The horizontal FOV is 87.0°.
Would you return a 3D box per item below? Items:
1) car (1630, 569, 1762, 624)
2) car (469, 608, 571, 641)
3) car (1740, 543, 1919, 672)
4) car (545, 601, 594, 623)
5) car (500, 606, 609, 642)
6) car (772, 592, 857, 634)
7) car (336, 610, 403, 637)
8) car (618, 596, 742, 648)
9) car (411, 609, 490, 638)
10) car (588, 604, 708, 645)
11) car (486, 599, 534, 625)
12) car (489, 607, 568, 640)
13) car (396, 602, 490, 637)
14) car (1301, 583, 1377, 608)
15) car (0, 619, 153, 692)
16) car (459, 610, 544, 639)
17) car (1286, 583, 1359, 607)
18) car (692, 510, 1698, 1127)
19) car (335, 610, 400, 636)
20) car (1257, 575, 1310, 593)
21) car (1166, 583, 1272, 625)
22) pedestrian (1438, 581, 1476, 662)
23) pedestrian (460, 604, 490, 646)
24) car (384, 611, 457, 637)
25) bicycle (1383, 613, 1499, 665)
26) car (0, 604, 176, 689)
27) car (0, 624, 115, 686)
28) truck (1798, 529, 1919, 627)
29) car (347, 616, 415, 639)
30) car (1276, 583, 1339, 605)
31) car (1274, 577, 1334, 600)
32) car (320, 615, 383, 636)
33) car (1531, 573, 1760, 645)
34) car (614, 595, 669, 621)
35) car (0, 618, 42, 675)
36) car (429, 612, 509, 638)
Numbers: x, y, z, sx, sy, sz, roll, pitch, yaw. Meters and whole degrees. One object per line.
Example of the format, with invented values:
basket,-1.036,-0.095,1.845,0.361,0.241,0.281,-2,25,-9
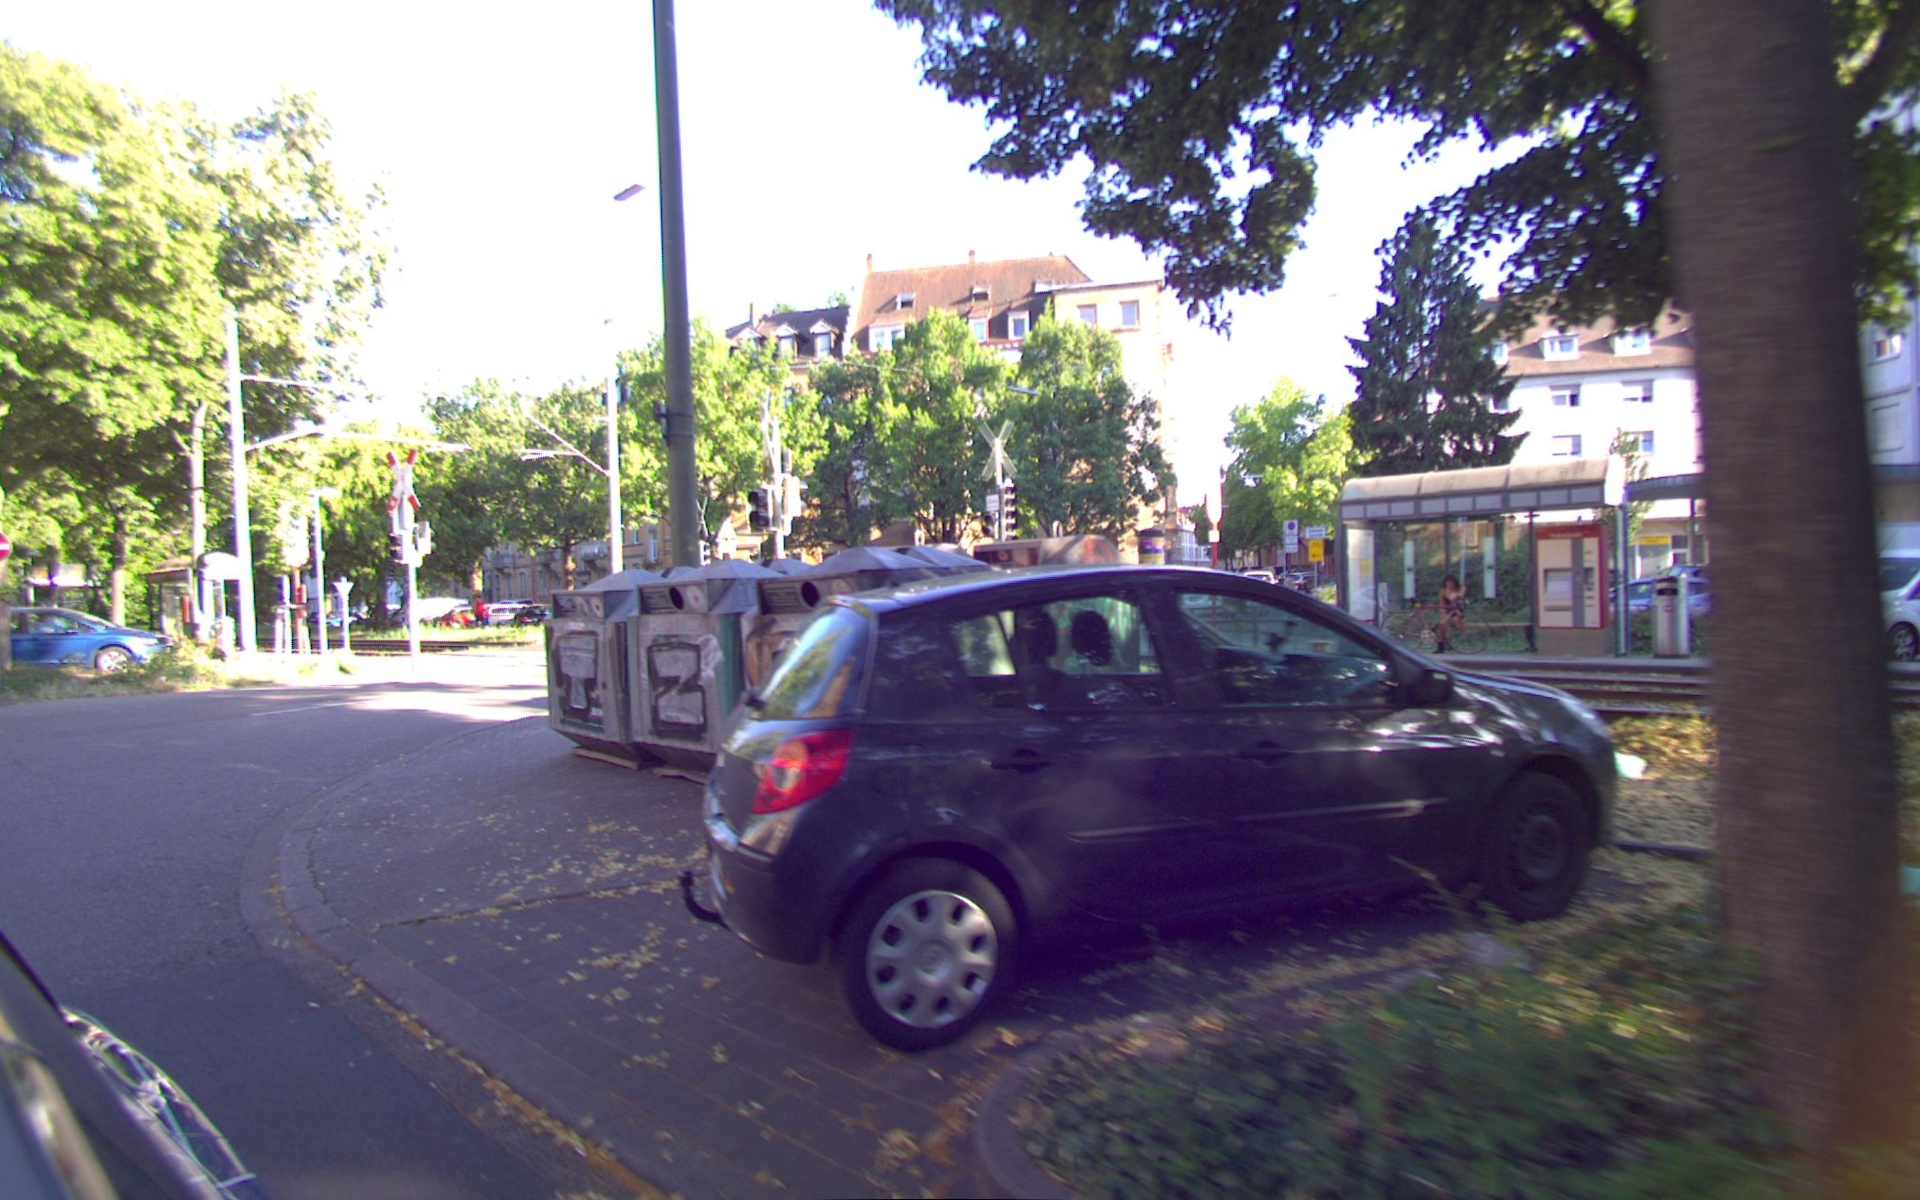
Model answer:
car,22.895,-0.124,31.668,1.981,1.544,3.981,-2,0,15
car,-23.572,1.281,54.318,4.644,1.584,2.002,-2,1,-42
car,13.651,0.179,14.513,4.170,1.665,1.612,2,-2,-13
car,-28.116,0.889,72.810,1.743,1.394,4.294,-5,2,-43
car,-20.170,1.170,50.457,4.644,1.584,2.002,-2,1,-42
car,-7.376,0.656,50.947,1.755,1.948,4.778,-5,2,-42
car,-42.861,1.694,73.496,3.940,1.846,1.685,-1,-1,-44
car,-11.451,0.851,41.535,4.484,1.929,1.952,-2,1,-42
car,-30.830,1.406,61.298,1.766,1.592,3.943,-2,-1,44
car,-13.354,1.003,43.474,4.484,1.584,1.952,-2,1,-42
car,-35.756,0.944,80.304,1.885,1.896,4.728,-5,2,-44
car,-22.190,1.201,52.066,3.357,1.526,1.721,-2,0,-42
car,-32.390,1.224,63.471,4.788,2.053,2.157,-1,-1,-44
car,23.521,-0.297,62.828,3.939,1.410,1.876,-2,0,-5
car,-22.656,1.331,24.510,4.474,1.647,1.936,-1,0,-23
car,-25.459,1.354,56.254,3.940,1.472,1.685,-1,-1,-44
car,23.350,-0.302,65.303,3.939,1.410,1.876,-2,0,-5
car,0.924,0.544,4.165,3.672,1.531,1.613,-5,1,-21
car,-44.212,1.721,75.571,3.940,1.846,1.685,-1,-1,-44
car,28.271,-1.381,88.463,3.932,1.410,1.879,-2,0,-17
car,10.189,0.143,39.689,4.230,1.461,1.926,-2,-1,-42
pedestrian,8.225,0.347,16.749,0.452,1.311,0.333,-2,0,43
pedestrian,-22.656,1.163,47.299,0.892,1.933,1.151,-2,0,-44
car,-35.470,1.554,66.604,3.940,1.565,1.685,-1,-1,-44
bicycle,7.845,0.626,16.561,1.643,0.789,0.444,-2,0,44
car,-20.545,1.052,22.690,4.343,1.700,1.748,-3,1,-26
car,-25.046,1.444,26.208,4.474,1.498,1.936,-1,0,-23
truck,26.348,-0.623,28.521,1.979,2.554,4.955,-2,0,11
car,-41.191,1.925,72.047,3.940,1.500,1.685,-1,-1,-44
car,25.488,-0.444,74.276,3.932,1.516,1.879,-2,0,-17
car,26.265,-0.856,77.364,3.932,1.648,1.879,-2,0,-17
car,-47.844,1.981,79.644,3.940,1.500,1.685,-1,-1,-44
car,15.093,0.225,22.405,3.998,1.457,1.693,-2,-1,42
car,-20.445,0.521,64.882,3.883,1.486,1.665,-2,2,44
car,-31.284,1.475,30.898,4.476,1.735,1.934,-1,-1,-14
car,-29.004,1.468,59.859,3.940,1.434,1.685,-1,-1,-44
